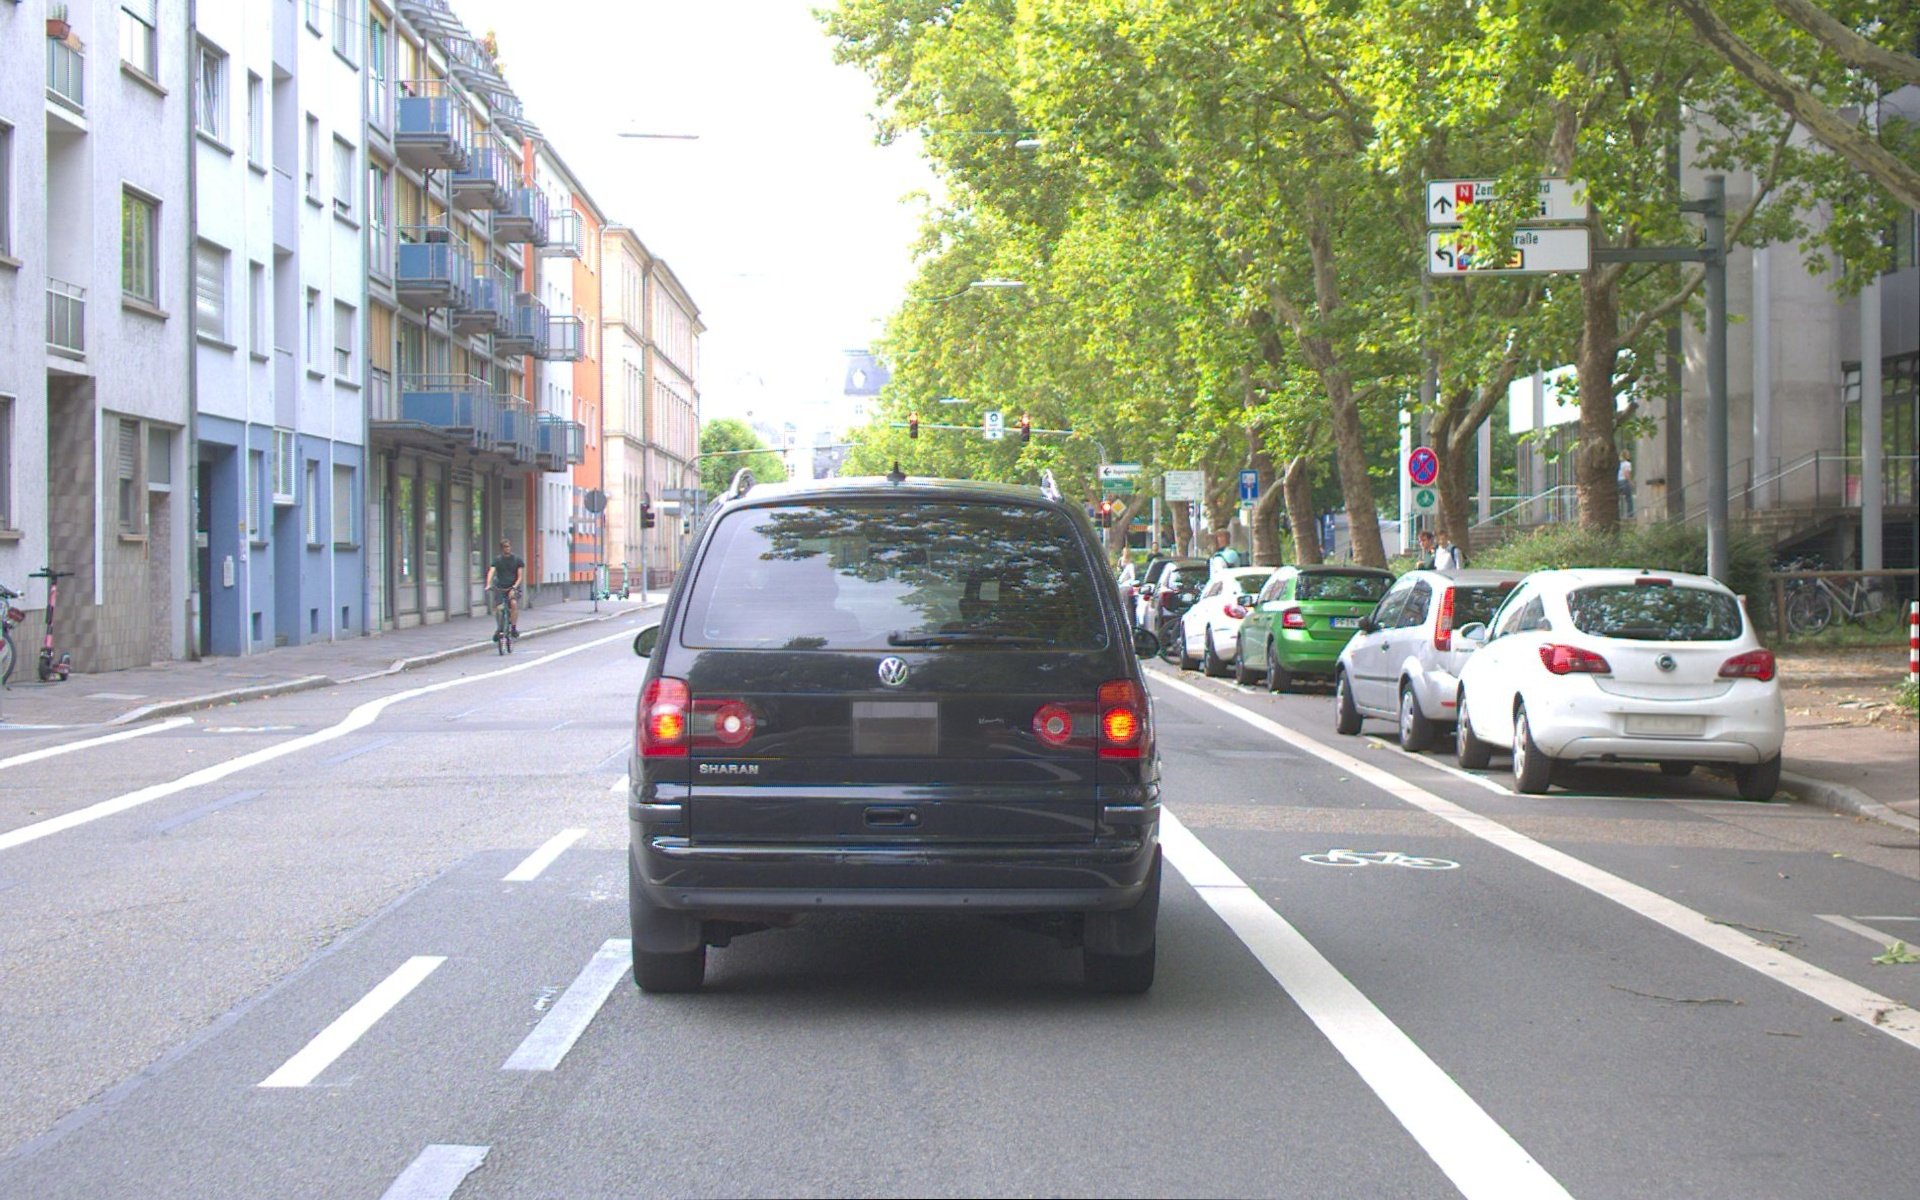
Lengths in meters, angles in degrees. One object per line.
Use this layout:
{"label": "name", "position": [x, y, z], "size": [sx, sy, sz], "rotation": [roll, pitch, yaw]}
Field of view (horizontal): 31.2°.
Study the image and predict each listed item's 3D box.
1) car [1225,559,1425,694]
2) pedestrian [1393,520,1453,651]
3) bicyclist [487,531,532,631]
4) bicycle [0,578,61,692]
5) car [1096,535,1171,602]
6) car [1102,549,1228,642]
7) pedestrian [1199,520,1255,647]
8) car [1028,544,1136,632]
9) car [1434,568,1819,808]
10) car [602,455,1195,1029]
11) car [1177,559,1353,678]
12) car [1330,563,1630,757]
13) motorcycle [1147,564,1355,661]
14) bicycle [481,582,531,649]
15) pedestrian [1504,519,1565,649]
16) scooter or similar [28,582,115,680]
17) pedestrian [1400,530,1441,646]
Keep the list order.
{"label": "car", "position": [4.149, 0.274, 39.506], "size": [1.641, 1.408, 3.417], "rotation": [2, 1, -5]}
{"label": "pedestrian", "position": [6.507, -0.205, 48.327], "size": [0.767, 1.825, 0.516], "rotation": [0, 1, 0]}
{"label": "bicyclist", "position": [-7.360, -0.307, 56.156], "size": [0.653, 1.606, 0.656], "rotation": [1, -2, -3]}
{"label": "bicycle", "position": [-9.621, 0.341, 34.830], "size": [0.631, 1.030, 2.016], "rotation": [1, 2, -4]}
{"label": "car", "position": [4.681, -0.872, 93.128], "size": [1.788, 1.766, 4.000], "rotation": [0, 1, -1]}
{"label": "car", "position": [3.510, -0.095, 59.378], "size": [1.641, 1.482, 3.513], "rotation": [2, 1, -5]}
{"label": "pedestrian", "position": [3.848, -0.244, 49.612], "size": [0.767, 1.825, 0.516], "rotation": [0, 1, 0]}
{"label": "car", "position": [2.419, -0.264, 68.704], "size": [1.743, 1.683, 3.805], "rotation": [0, 1, -4]}
{"label": "car", "position": [4.427, 0.526, 23.478], "size": [1.675, 1.389, 4.461], "rotation": [2, 1, -1]}
{"label": "car", "position": [-0.308, 0.418, 12.494], "size": [1.812, 1.760, 3.738], "rotation": [1, 1, -4]}
{"label": "car", "position": [3.872, 0.206, 44.128], "size": [1.641, 1.390, 3.513], "rotation": [2, 1, -5]}
{"label": "car", "position": [4.176, 0.445, 28.092], "size": [1.641, 1.408, 3.417], "rotation": [2, 1, -5]}
{"label": "motorcycle", "position": [4.070, 0.171, 48.223], "size": [2.837, 1.320, 0.765], "rotation": [0, 1, -1]}
{"label": "bicycle", "position": [-7.366, 0.261, 55.833], "size": [0.631, 1.030, 2.015], "rotation": [1, -2, -3]}
{"label": "pedestrian", "position": [8.110, -0.234, 48.518], "size": [0.767, 1.825, 0.516], "rotation": [0, 1, 0]}
{"label": "scooter or similar", "position": [-9.707, 0.355, 37.602], "size": [0.631, 1.030, 2.015], "rotation": [1, -1, -7]}
{"label": "pedestrian", "position": [6.706, -0.183, 50.094], "size": [0.510, 1.674, 0.516], "rotation": [0, 1, 0]}
